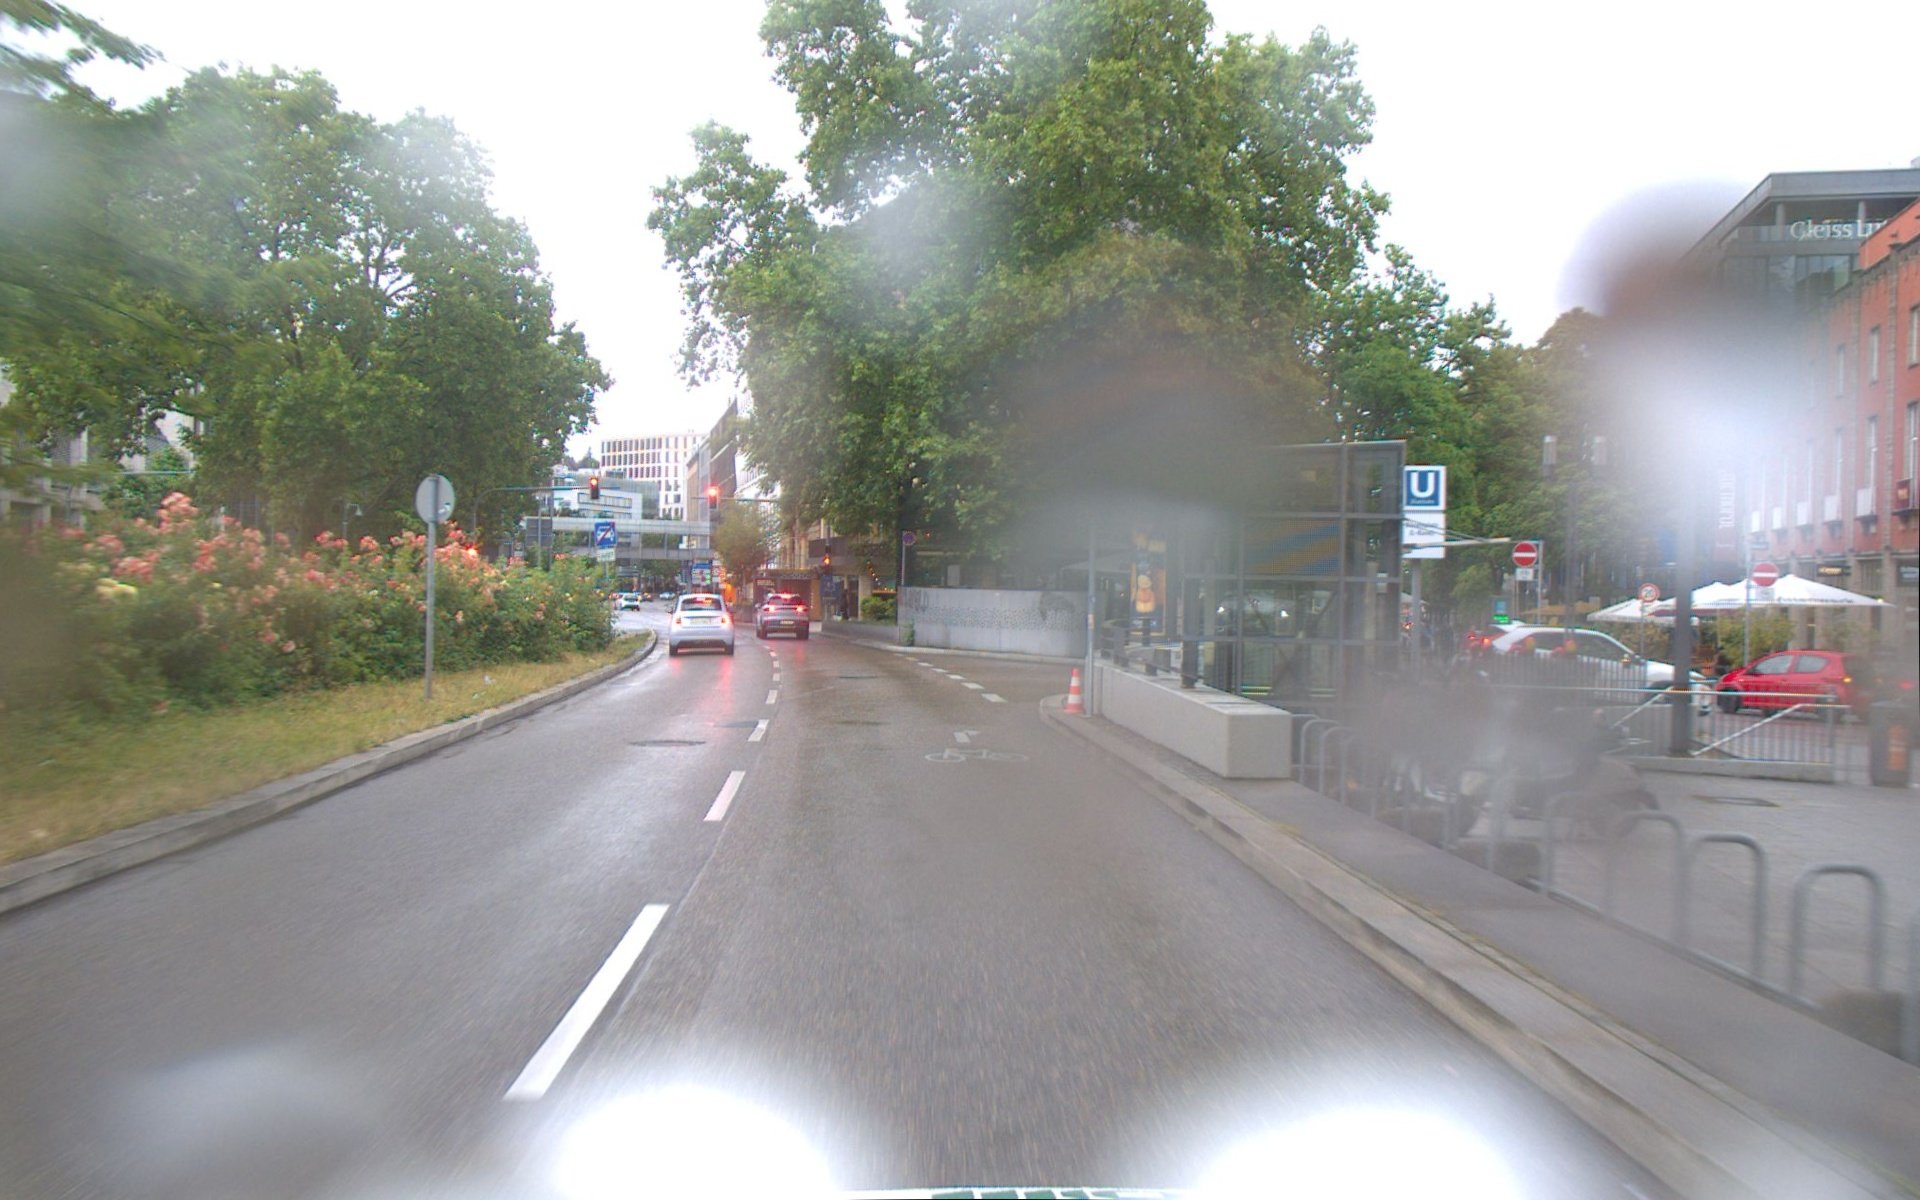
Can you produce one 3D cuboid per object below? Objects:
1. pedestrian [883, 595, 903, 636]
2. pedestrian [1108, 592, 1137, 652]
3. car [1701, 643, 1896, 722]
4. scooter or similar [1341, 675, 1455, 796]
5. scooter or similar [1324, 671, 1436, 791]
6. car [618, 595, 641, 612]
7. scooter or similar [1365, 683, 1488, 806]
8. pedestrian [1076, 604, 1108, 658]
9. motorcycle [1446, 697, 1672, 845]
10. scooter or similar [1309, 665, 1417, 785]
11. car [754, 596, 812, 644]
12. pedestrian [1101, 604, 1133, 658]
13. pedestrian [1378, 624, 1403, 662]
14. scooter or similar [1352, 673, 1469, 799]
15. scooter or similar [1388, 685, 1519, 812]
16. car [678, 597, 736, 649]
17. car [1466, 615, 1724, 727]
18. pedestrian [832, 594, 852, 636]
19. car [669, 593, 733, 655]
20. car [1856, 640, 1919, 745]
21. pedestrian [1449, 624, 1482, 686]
[{"bbox_3d":[-3.045,0.705,75.040,0.842,1.811,0.716,1,-1,-7],"label":"pedestrian"},{"bbox_3d":[4.767,0.644,48.523,0.707,1.731,0.618,0,-1,22],"label":"pedestrian"},{"bbox_3d":[18.271,1.770,36.166,1.592,1.440,3.494,3,0,-30],"label":"car"},{"bbox_3d":[4.687,1.444,17.730,1.091,1.237,0.364,2,0,-5],"label":"scooter or similar"},{"bbox_3d":[4.605,1.429,18.154,1.091,1.256,0.364,2,0,-5],"label":"scooter or similar"},{"bbox_3d":[-30.011,0.271,150.021,1.944,1.488,4.332,-1,0,-12],"label":"car"},{"bbox_3d":[4.749,1.462,16.855,1.091,1.178,0.443,2,0,-5],"label":"scooter or similar"},{"bbox_3d":[3.659,0.851,45.770,0.671,1.434,0.904,3,-1,-5],"label":"pedestrian"},{"bbox_3d":[5.225,1.487,14.469,1.742,1.178,0.607,2,0,-5],"label":"motorcycle"},{"bbox_3d":[4.546,1.410,18.660,1.091,1.291,0.364,2,0,-5],"label":"scooter or similar"},{"bbox_3d":[-6.685,0.744,62.225,1.911,1.695,4.336,2,-1,-9],"label":"car"},{"bbox_3d":[4.359,0.860,45.878,0.671,1.434,0.904,3,-1,-5],"label":"pedestrian"},{"bbox_3d":[15.064,1.498,57.918,0.616,1.272,0.609,3,-1,-5],"label":"pedestrian"},{"bbox_3d":[4.722,1.425,17.342,1.091,1.258,0.364,2,0,-5],"label":"scooter or similar"},{"bbox_3d":[4.867,1.458,16.348,1.091,1.178,0.531,2,0,-5],"label":"scooter or similar"},{"bbox_3d":[-7.713,0.675,50.341,1.660,1.488,4.121,-1,0,-9],"label":"car"},{"bbox_3d":[11.498,1.264,30.195,4.010,1.649,1.864,5,-1,9],"label":"car"},{"bbox_3d":[-5.130,0.645,71.802,0.842,1.811,0.716,1,-1,-7],"label":"pedestrian"},{"bbox_3d":[-6.792,0.603,43.307,1.561,1.517,3.497,-1,0,-9],"label":"car"},{"bbox_3d":[18.428,1.685,28.712,4.634,1.720,2.006,2,1,14],"label":"car"},{"bbox_3d":[15.253,1.665,49.965,0.677,1.811,0.874,2,0,1],"label":"pedestrian"}]
